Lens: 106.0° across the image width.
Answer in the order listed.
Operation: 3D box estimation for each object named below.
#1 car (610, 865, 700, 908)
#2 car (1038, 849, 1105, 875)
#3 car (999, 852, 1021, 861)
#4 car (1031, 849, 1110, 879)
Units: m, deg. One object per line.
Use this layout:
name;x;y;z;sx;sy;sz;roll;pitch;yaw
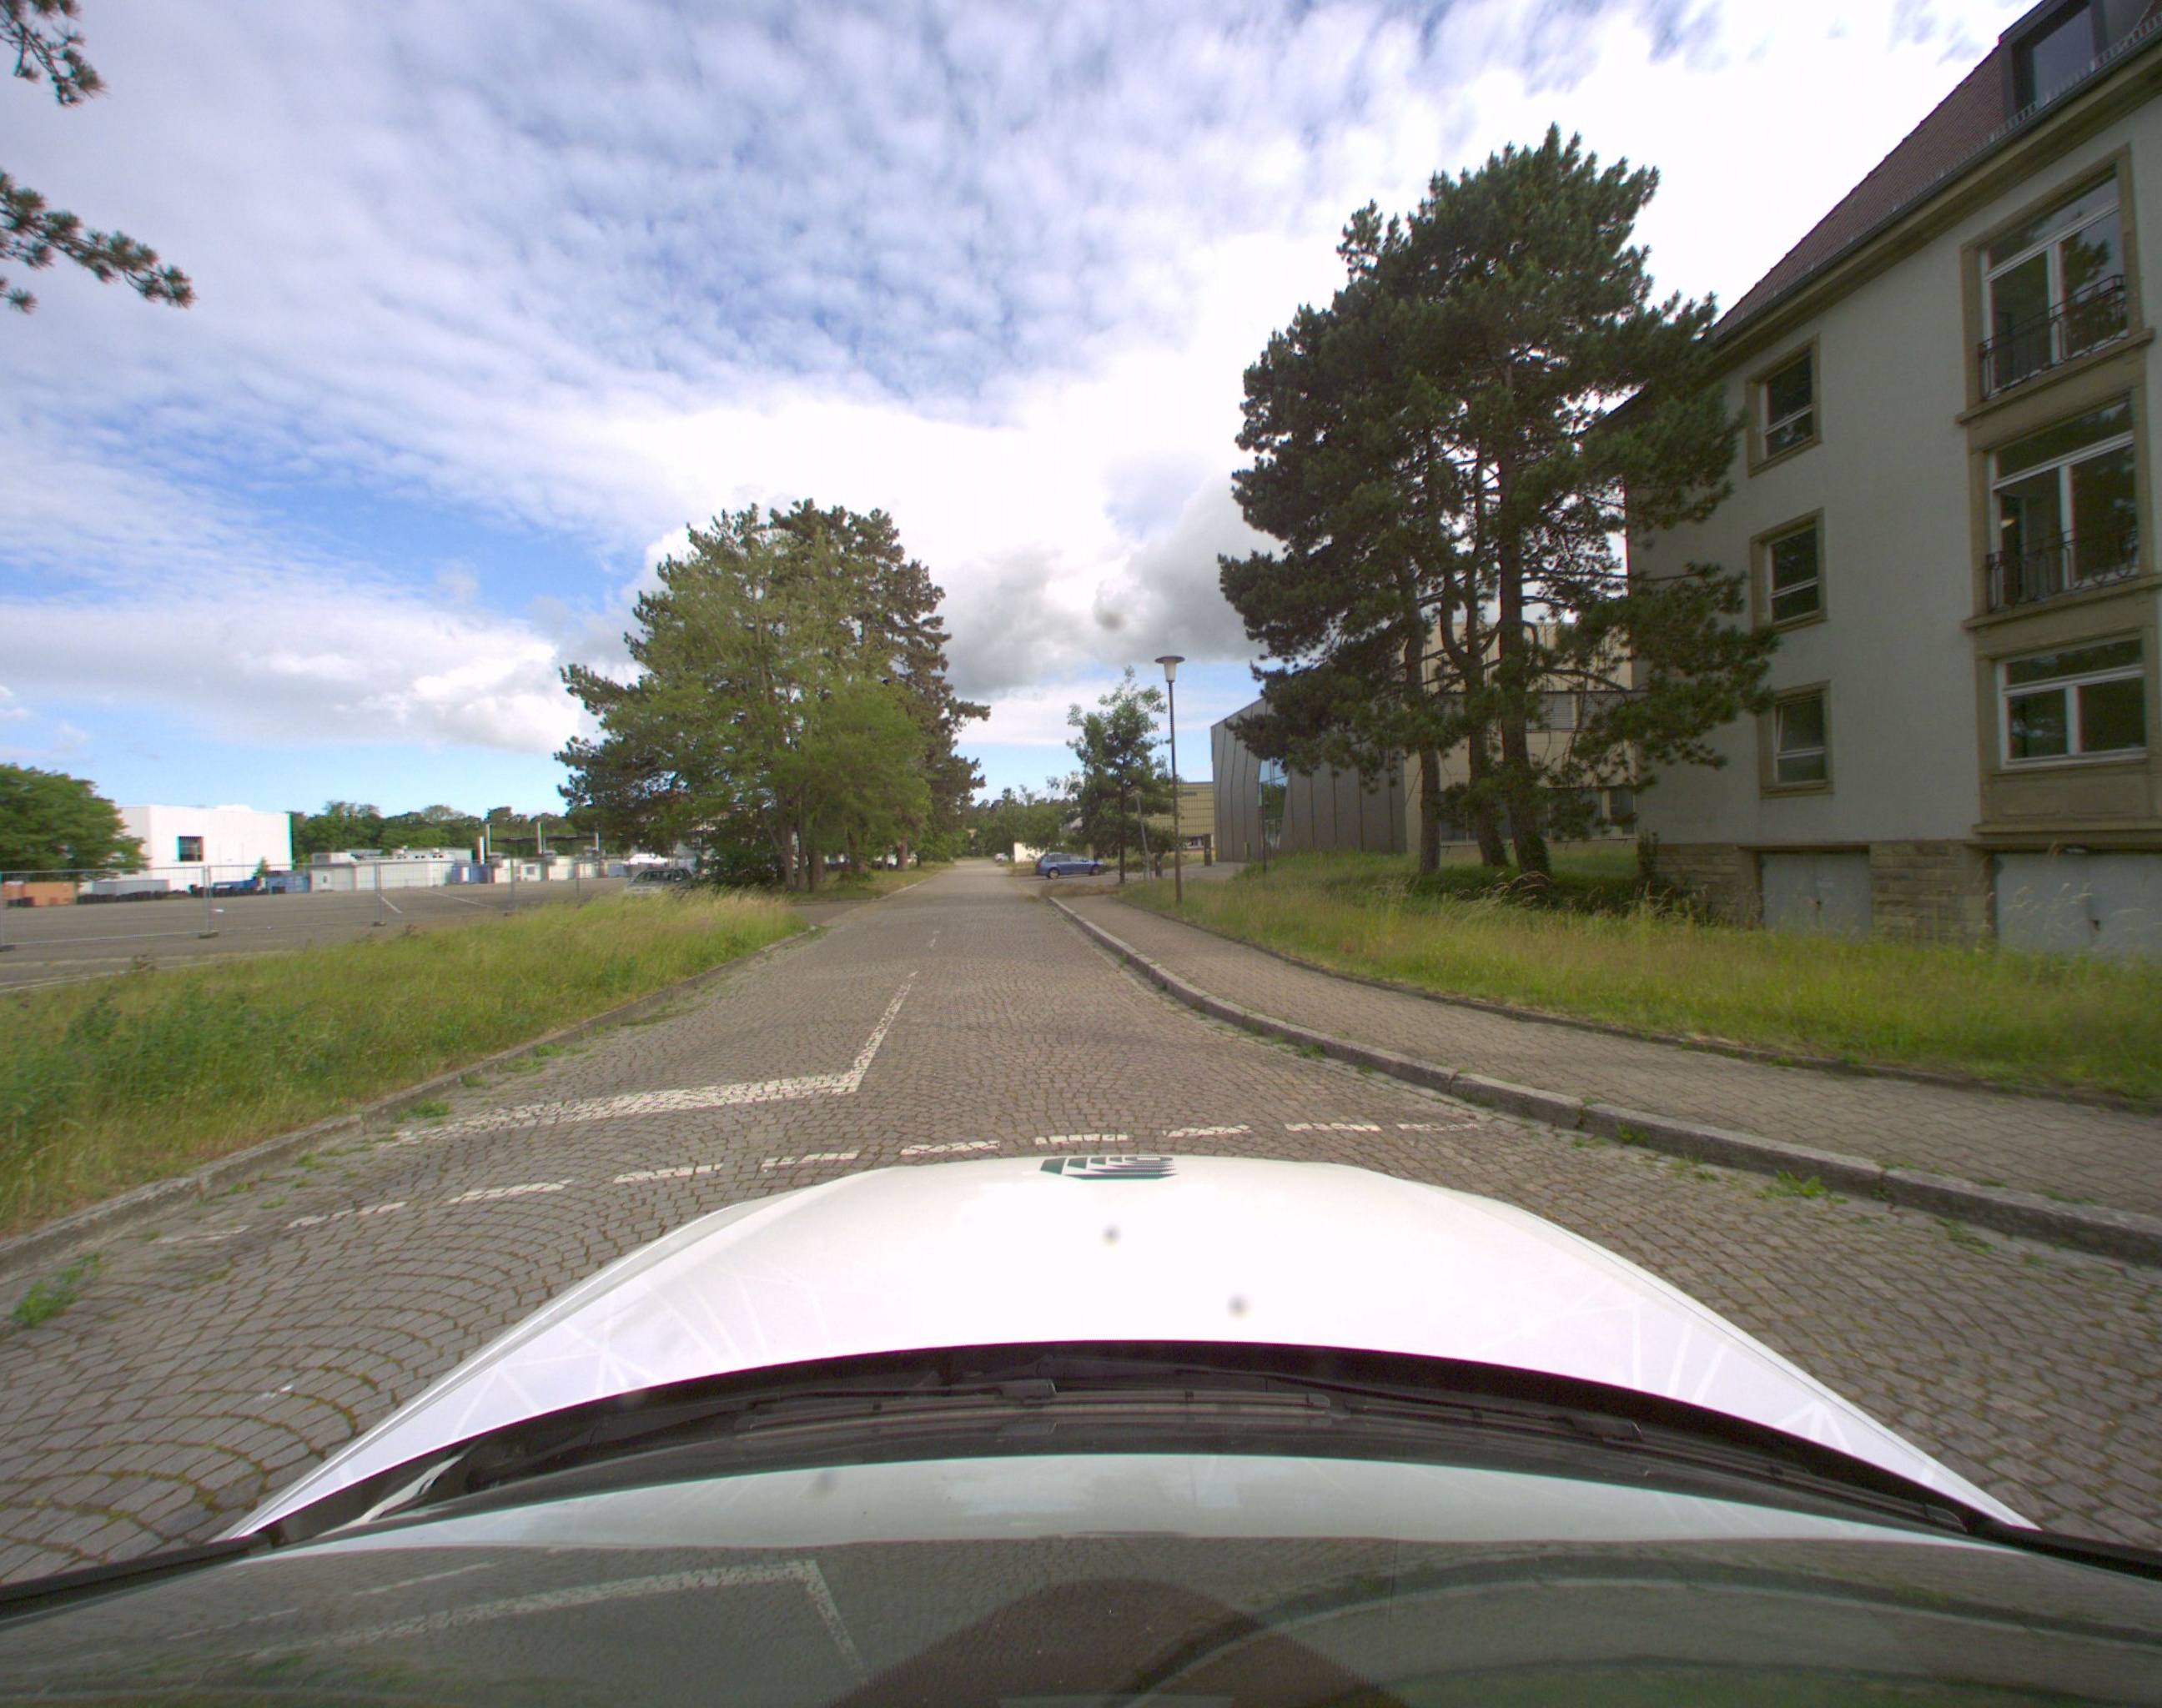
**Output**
car;-17.212;1.269;33.116;1.919;1.476;4.354;-2;0;-10
car;-0.710;0.560;57.643;4.513;1.531;1.995;-4;0;-7
car;-14.300;0.492;163.712;4.349;1.780;1.921;-2;0;-6
car;-0.656;0.598;50.239;4.519;1.531;1.993;-4;0;-11
